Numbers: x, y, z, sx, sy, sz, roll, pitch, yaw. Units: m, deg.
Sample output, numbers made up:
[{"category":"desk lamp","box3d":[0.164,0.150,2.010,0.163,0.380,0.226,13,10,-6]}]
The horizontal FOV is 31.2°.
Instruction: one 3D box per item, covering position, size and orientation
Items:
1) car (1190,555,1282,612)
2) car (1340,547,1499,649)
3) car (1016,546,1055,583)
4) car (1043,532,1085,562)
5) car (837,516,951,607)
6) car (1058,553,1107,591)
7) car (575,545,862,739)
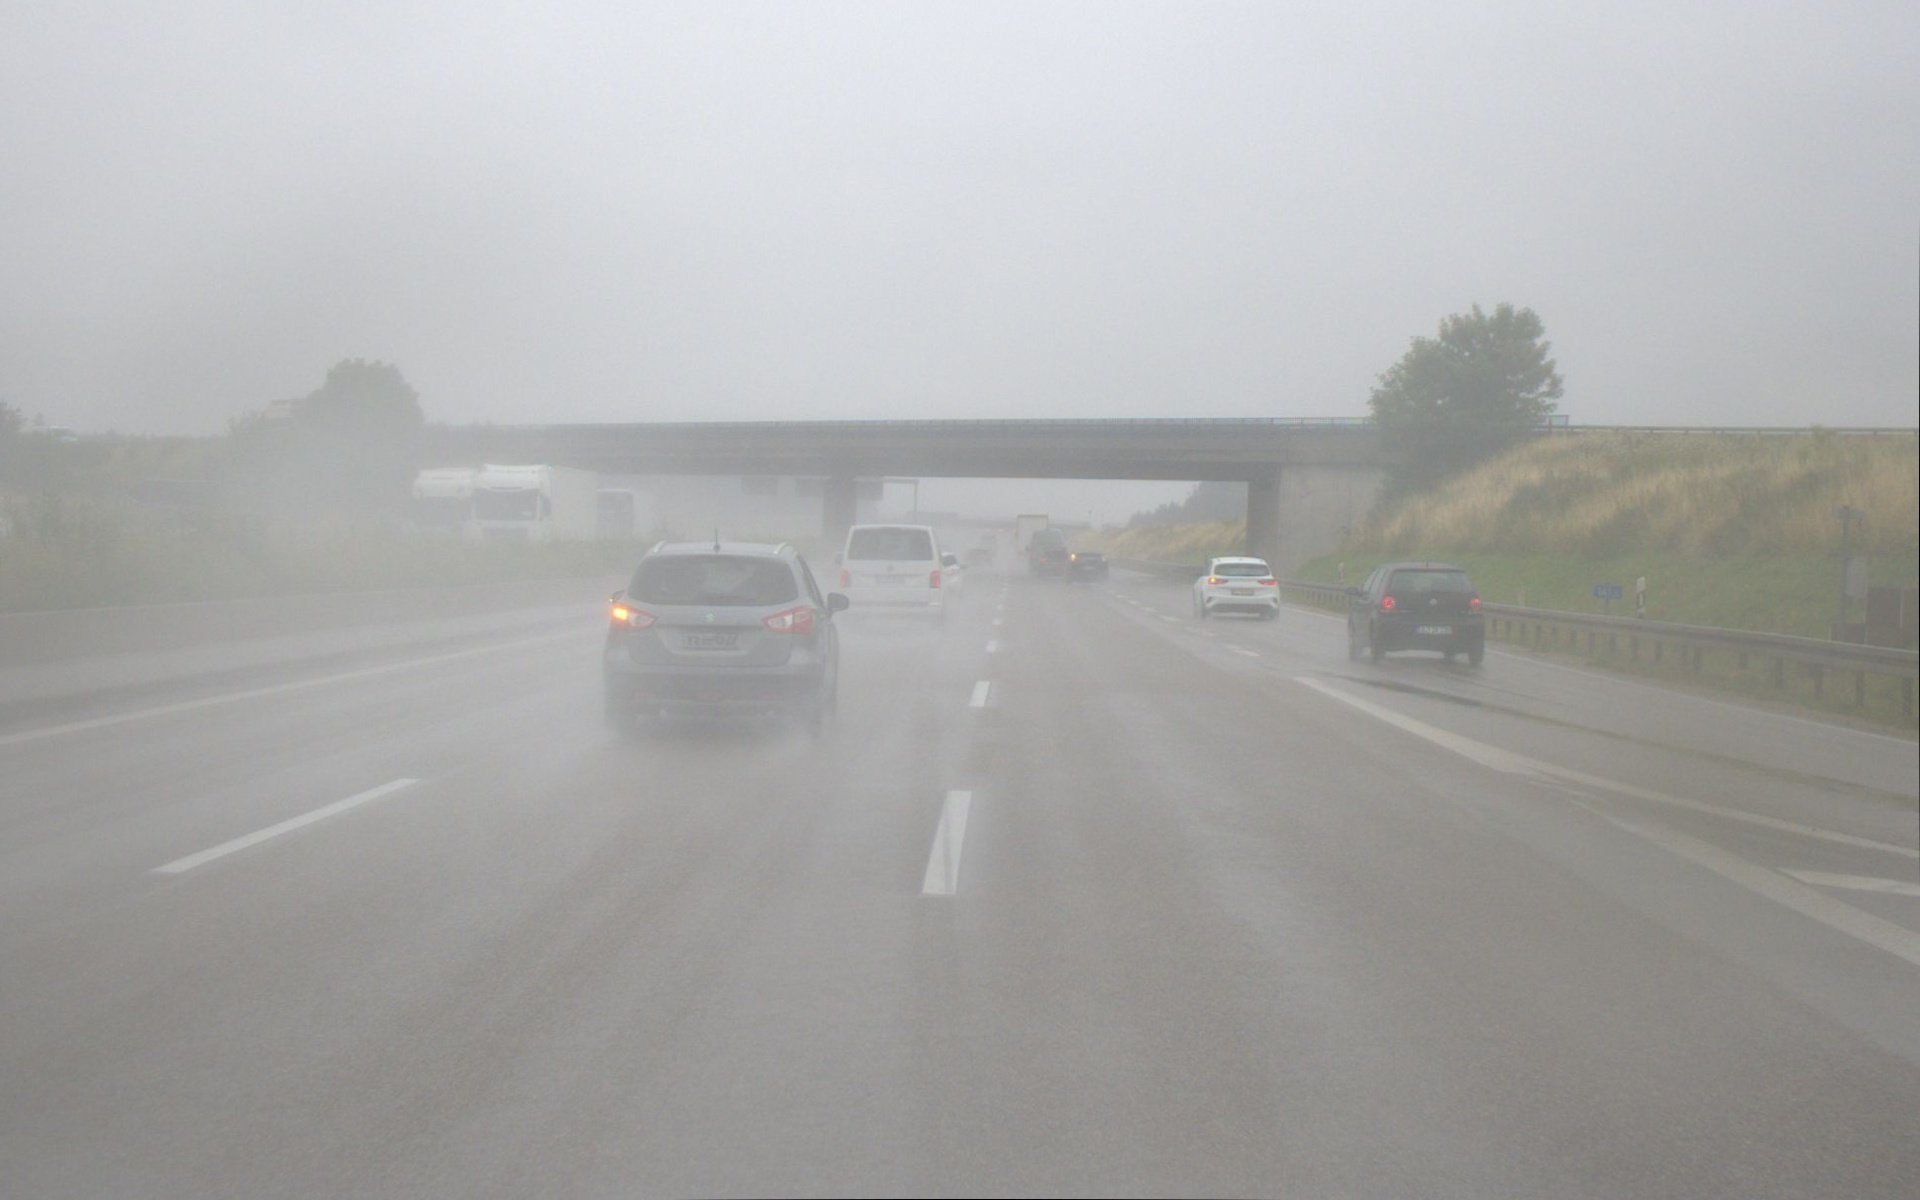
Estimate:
[{"category":"car","box3d":[6.464,-0.384,80.842,1.994,1.262,4.000,1,0,3]},{"category":"car","box3d":[6.765,-0.054,50.910,1.731,1.416,3.658,1,1,-2]},{"category":"car","box3d":[4.314,-2.038,196.224,1.993,2.094,4.000,1,1,-2]},{"category":"car","box3d":[5.220,-2.657,172.567,1.993,1.459,4.000,1,1,1]},{"category":"car","box3d":[-1.171,-0.701,62.970,1.897,1.580,4.000,1,0,1]},{"category":"car","box3d":[5.103,-1.168,143.783,1.801,1.503,4.000,1,0,-1]},{"category":"car","box3d":[-1.972,0.300,29.470,1.846,1.508,4.756,1,1,3]}]
